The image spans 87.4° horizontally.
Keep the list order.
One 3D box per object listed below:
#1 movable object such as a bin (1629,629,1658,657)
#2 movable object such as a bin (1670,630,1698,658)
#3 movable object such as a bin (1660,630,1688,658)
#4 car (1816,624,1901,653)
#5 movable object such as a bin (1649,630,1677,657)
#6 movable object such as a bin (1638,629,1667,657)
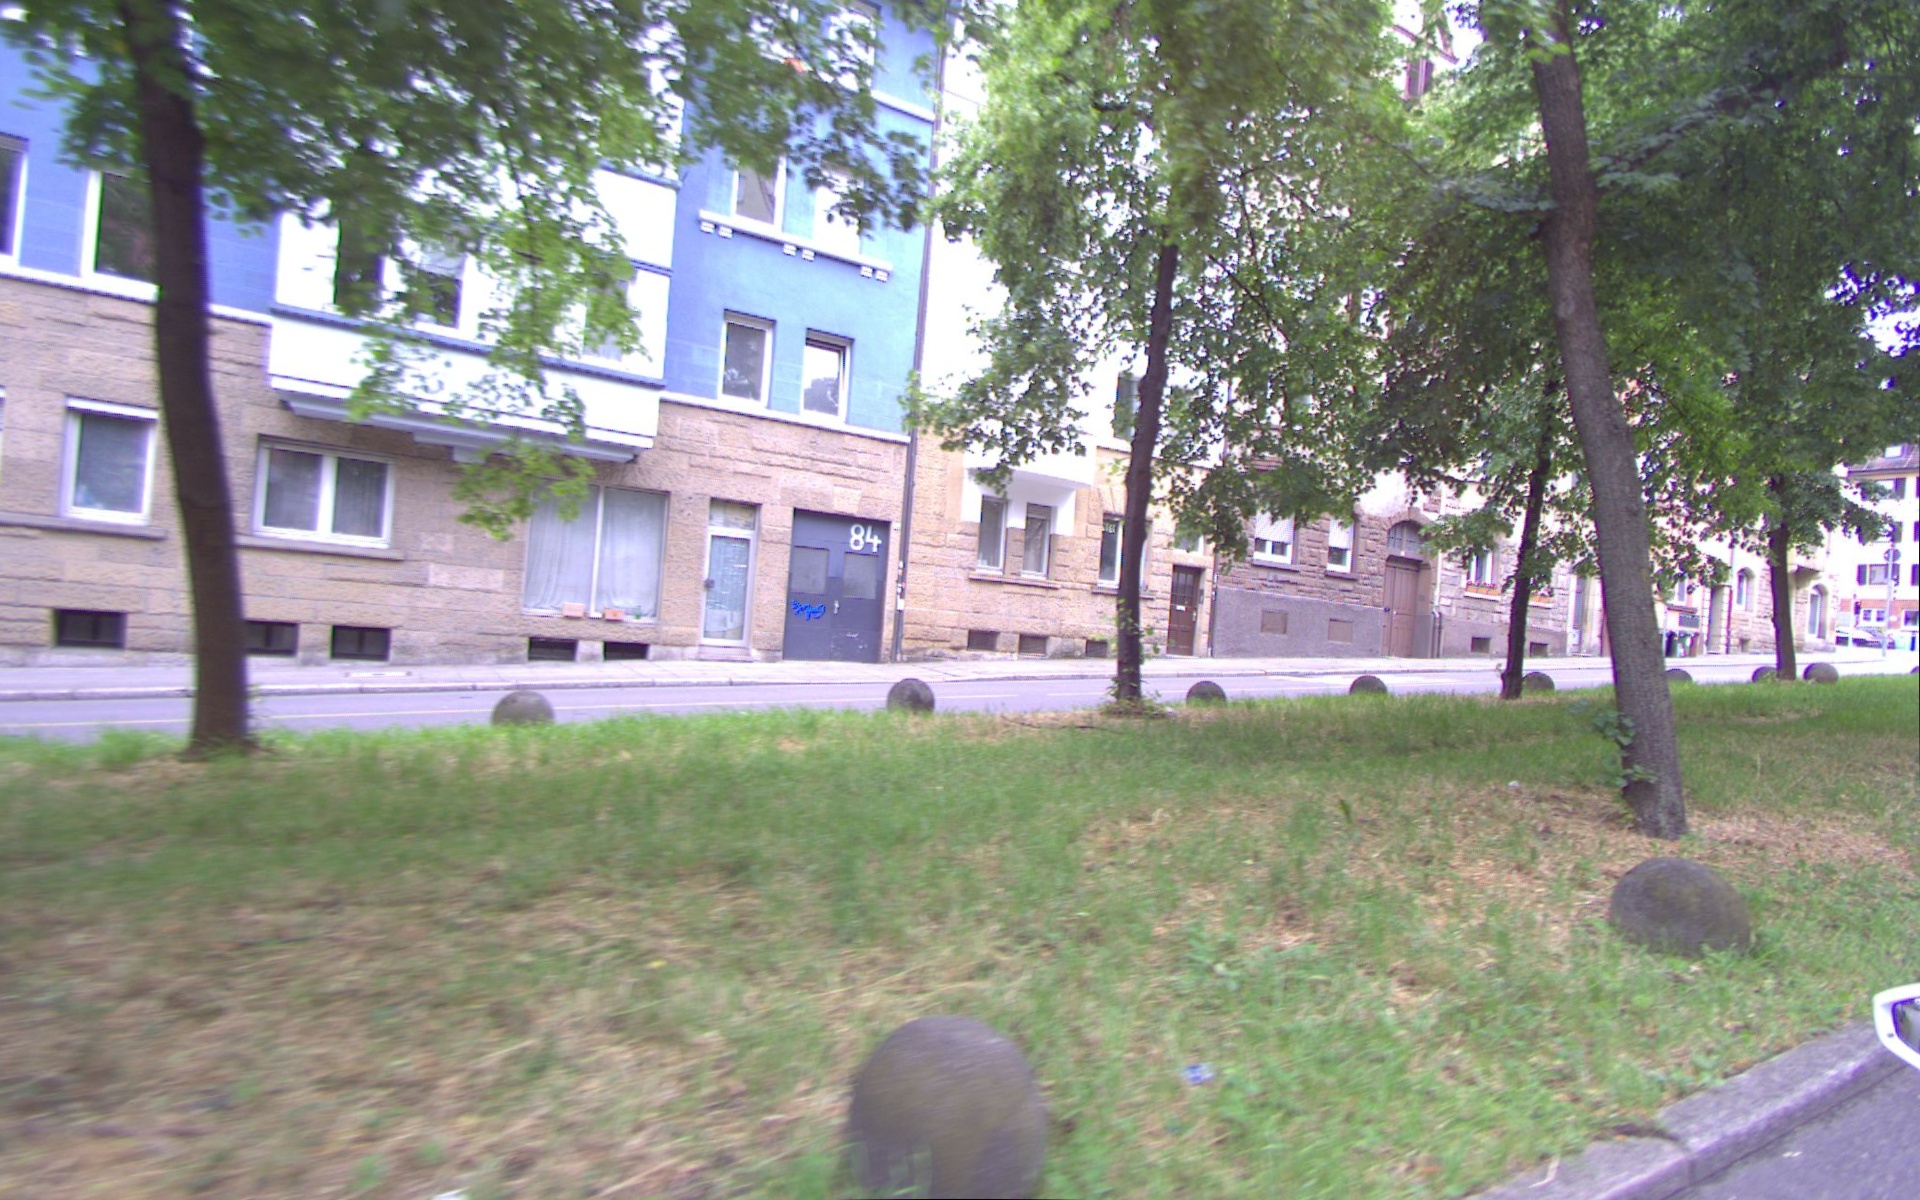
[{"bbox_3d":[23.226,1.464,34.148,0.595,0.916,0.605,2,1,-34],"label":"movable object such as a bin"},{"bbox_3d":[25.654,1.554,35.582,0.595,0.916,0.605,2,1,-34],"label":"movable object such as a bin"},{"bbox_3d":[25.041,1.536,35.229,0.595,0.916,0.605,2,1,-34],"label":"movable object such as a bin"},{"bbox_3d":[56.254,2.383,63.013,1.845,1.687,4.002,3,-1,3],"label":"car"},{"bbox_3d":[24.381,1.509,34.845,0.595,0.916,0.605,2,1,-34],"label":"movable object such as a bin"},{"bbox_3d":[23.762,1.486,34.475,0.595,0.916,0.605,2,1,-34],"label":"movable object such as a bin"}]
